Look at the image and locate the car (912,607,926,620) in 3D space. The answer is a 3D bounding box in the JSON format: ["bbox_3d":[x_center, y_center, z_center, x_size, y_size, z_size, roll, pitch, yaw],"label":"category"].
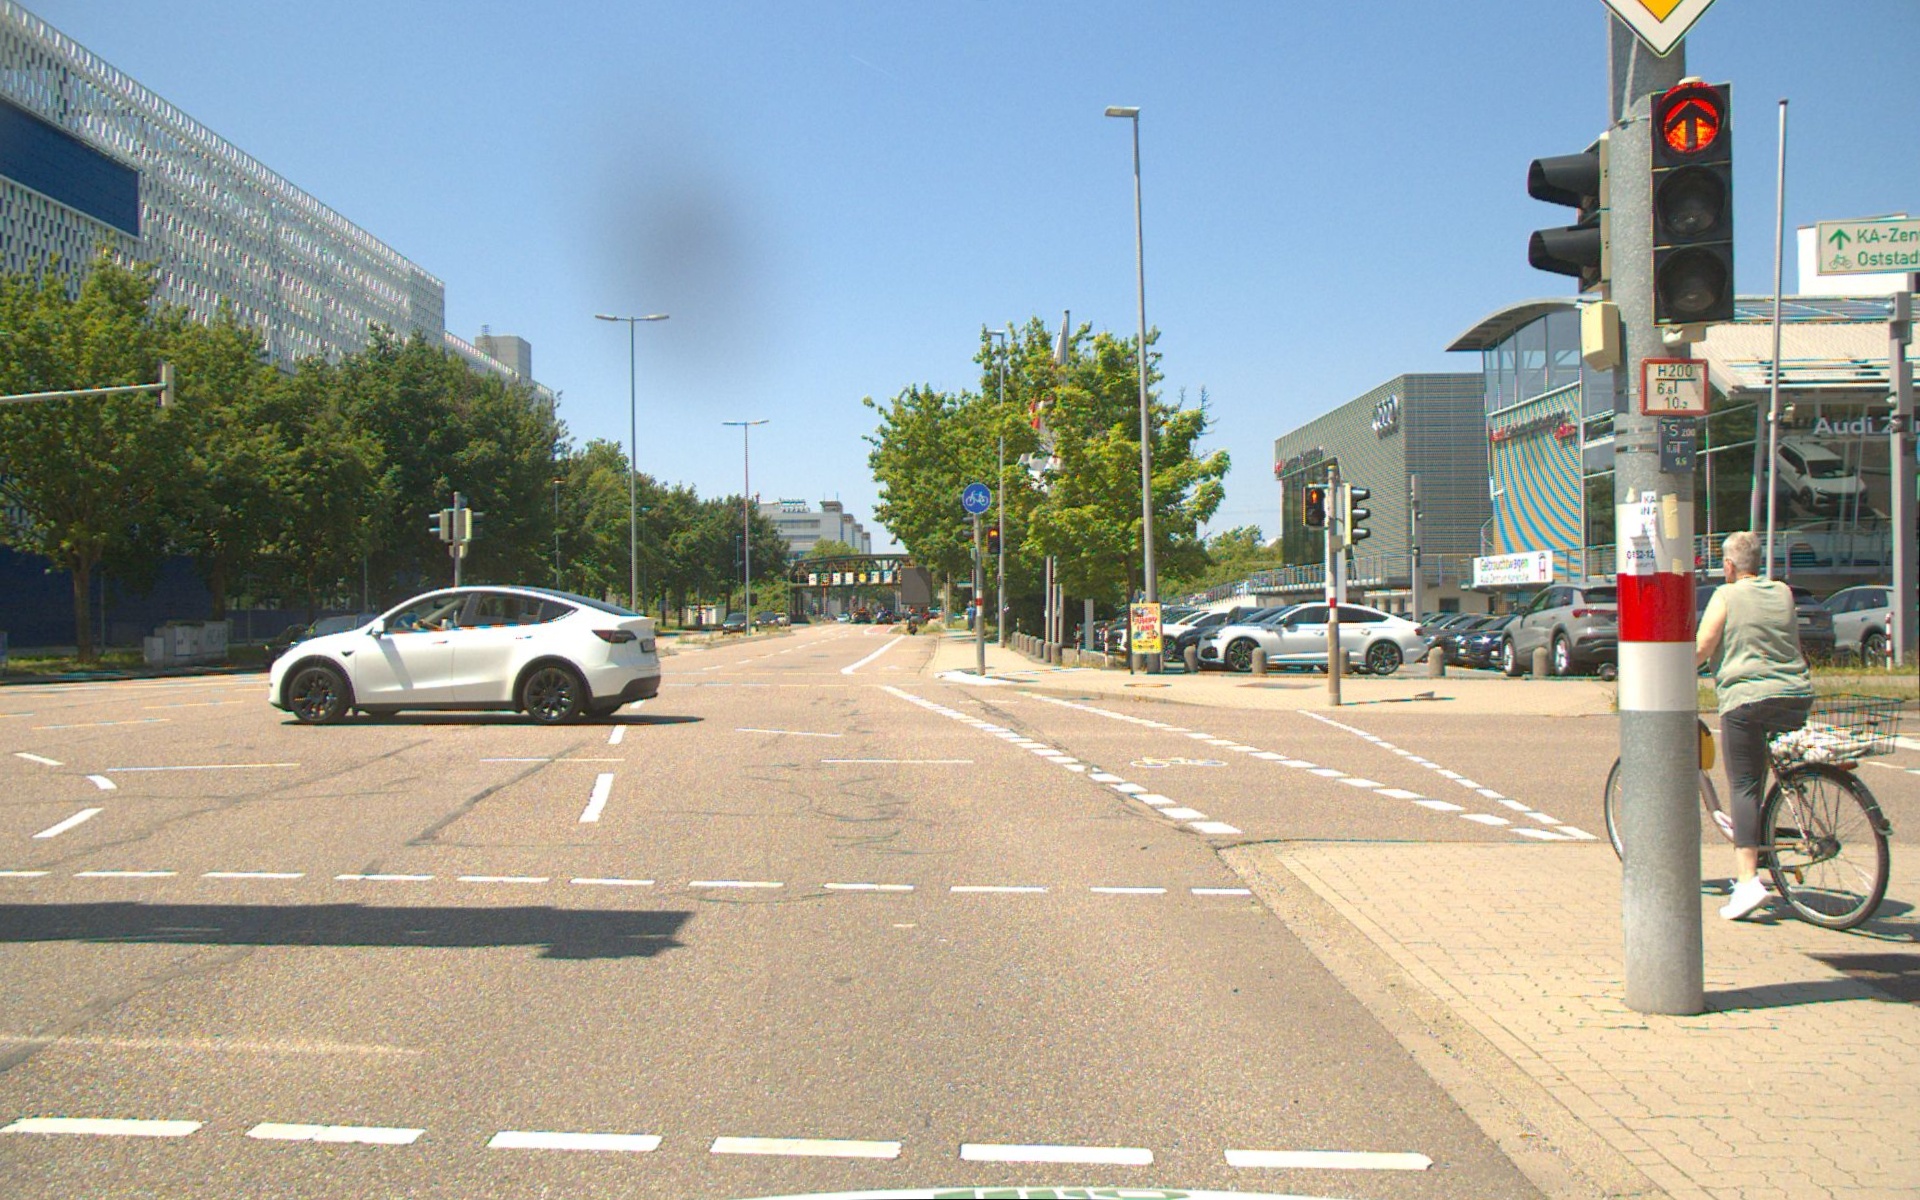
[{"bbox_3d":[-5.444,1.786,220.598,1.736,1.758,3.999,-1,-1,-1],"label":"car"}]

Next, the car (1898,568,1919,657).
[{"bbox_3d":[18.843,0.229,29.276,1.847,1.668,4.524,-1,0,-1],"label":"car"}]

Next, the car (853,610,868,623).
[{"bbox_3d":[-13.524,2.202,224.737,1.736,1.758,3.999,-1,-1,-1],"label":"car"}]

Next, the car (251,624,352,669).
[{"bbox_3d":[-23.417,1.669,58.962,1.733,1.560,3.756,0,-2,7],"label":"car"}]

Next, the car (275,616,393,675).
[{"bbox_3d":[-18.509,1.325,49.144,1.837,1.626,4.495,-1,-1,-1],"label":"car"}]

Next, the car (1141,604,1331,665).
[{"bbox_3d":[7.264,0.895,43.847,4.646,1.482,1.999,-1,0,-3],"label":"car"}]

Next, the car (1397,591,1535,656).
[{"bbox_3d":[16.666,0.771,54.614,3.905,2.049,2.000,-1,0,0],"label":"car"}]

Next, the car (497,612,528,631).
[{"bbox_3d":[-46.891,2.255,173.495,1.952,1.842,4.030,1,0,2],"label":"car"}]

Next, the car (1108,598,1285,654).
[{"bbox_3d":[6.617,0.715,46.639,4.646,1.482,1.999,-1,0,-3],"label":"car"}]

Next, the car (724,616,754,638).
[{"bbox_3d":[-16.127,1.972,121.009,1.697,1.452,3.705,-3,-1,-1],"label":"car"}]

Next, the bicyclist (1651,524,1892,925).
[{"bbox_3d":[3.777,0.553,7.747,0.719,1.779,0.753,0,0,-5],"label":"bicyclist"}]

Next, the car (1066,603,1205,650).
[{"bbox_3d":[6.222,0.918,58.888,4.646,1.482,1.999,-2,0,-3],"label":"car"}]

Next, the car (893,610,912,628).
[{"bbox_3d":[-3.653,1.193,105.208,1.114,1.060,2.308,-1,0,-1],"label":"car"}]

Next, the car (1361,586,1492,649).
[{"bbox_3d":[15.970,0.592,56.806,3.905,2.049,2.000,-1,0,0],"label":"car"}]

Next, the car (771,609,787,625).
[{"bbox_3d":[-19.896,1.884,182.207,1.617,1.682,4.159,-1,0,-5],"label":"car"}]

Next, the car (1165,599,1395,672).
[{"bbox_3d":[6.895,0.766,36.041,4.643,1.482,2.000,-1,-1,1],"label":"car"}]

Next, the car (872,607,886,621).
[{"bbox_3d":[-10.790,1.872,220.015,1.736,1.758,3.999,-1,-1,-1],"label":"car"}]

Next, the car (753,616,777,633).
[{"bbox_3d":[-17.005,2.125,144.361,1.650,1.436,3.664,-1,-1,-1],"label":"car"}]

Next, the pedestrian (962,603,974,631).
[{"bbox_3d":[0.450,0.945,92.330,0.654,1.537,0.736,-1,0,-1],"label":"pedestrian"}]

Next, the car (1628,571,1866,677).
[{"bbox_3d":[13.683,0.372,29.101,1.953,1.668,4.557,-1,0,-1],"label":"car"}]

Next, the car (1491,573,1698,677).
[{"bbox_3d":[11.042,0.394,29.136,1.953,1.668,4.267,-1,0,-1],"label":"car"}]

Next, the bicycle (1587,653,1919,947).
[{"bbox_3d":[3.793,0.863,7.876,0.771,1.147,1.919,0,0,-4],"label":"bicycle"}]

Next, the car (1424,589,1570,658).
[{"bbox_3d":[16.776,0.728,51.800,3.905,2.049,2.000,-1,0,0],"label":"car"}]

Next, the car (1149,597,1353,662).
[{"bbox_3d":[7.032,0.703,40.364,4.643,1.482,2.000,-1,0,1],"label":"car"}]

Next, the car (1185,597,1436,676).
[{"bbox_3d":[6.974,0.714,33.317,4.643,1.482,2.000,-1,0,1],"label":"car"}]

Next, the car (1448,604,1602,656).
[{"bbox_3d":[16.861,0.878,49.459,4.008,1.486,1.719,-1,0,0],"label":"car"}]

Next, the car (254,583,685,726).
[{"bbox_3d":[-5.834,0.643,20.017,4.581,1.616,2.001,0,-1,5],"label":"car"}]

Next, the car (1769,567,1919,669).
[{"bbox_3d":[16.477,0.259,29.386,1.953,1.668,4.440,-1,0,-1],"label":"car"}]
